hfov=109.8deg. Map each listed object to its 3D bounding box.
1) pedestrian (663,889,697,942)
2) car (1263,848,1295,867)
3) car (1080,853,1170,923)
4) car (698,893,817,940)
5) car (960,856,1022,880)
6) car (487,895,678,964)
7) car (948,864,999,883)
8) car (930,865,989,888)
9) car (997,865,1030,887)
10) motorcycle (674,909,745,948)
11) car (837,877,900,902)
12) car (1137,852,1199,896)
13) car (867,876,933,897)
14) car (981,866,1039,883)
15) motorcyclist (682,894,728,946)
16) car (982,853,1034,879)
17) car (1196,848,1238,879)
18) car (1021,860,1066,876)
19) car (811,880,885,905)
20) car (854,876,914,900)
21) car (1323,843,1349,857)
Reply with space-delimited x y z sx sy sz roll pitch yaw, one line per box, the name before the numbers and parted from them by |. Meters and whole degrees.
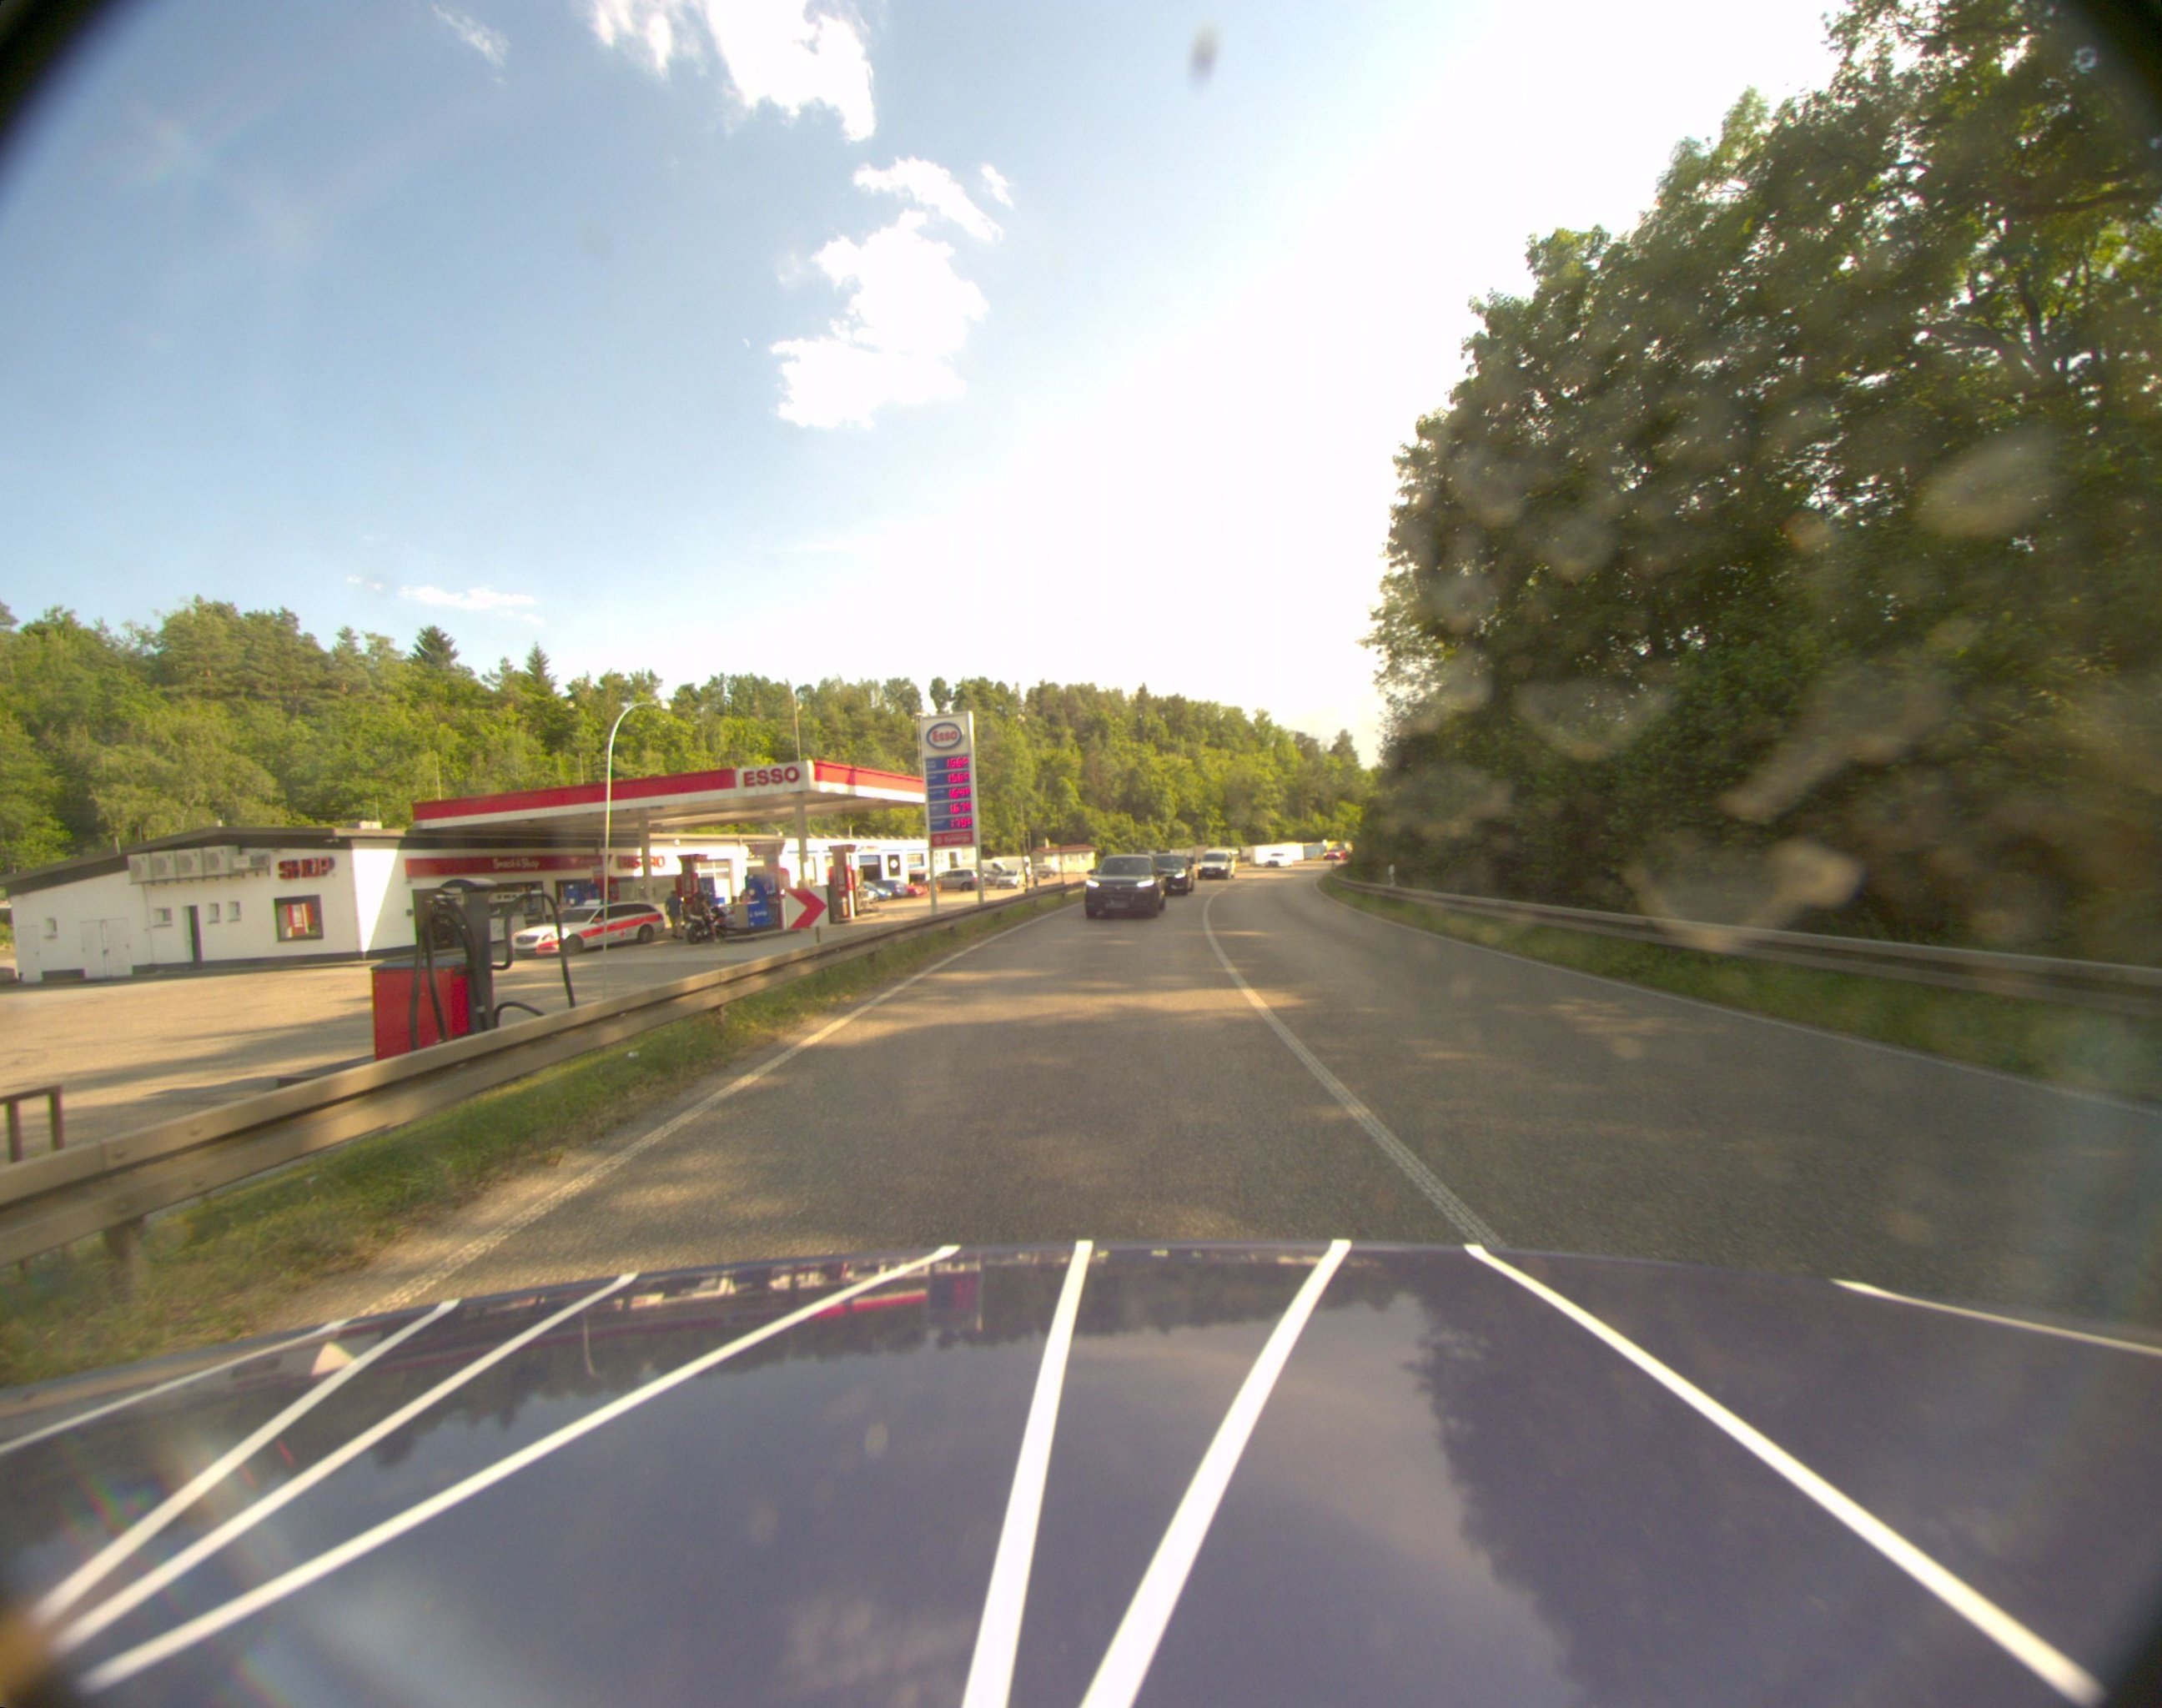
pedestrian | -14.153 2.161 26.832 0.704 1.766 0.620 -4 0 7
car | 18.060 0.314 69.226 1.893 1.437 4.483 -4 0 26
car | 1.309 0.829 20.636 1.858 1.630 4.444 -1 1 10
car | -12.057 2.285 28.678 1.845 1.311 4.394 -3 0 13
car | -8.882 1.374 75.149 5.482 2.261 2.297 -2 1 13
car | -16.030 2.374 24.897 2.096 1.618 5.184 -3 0 12
car | -9.945 1.819 70.506 4.247 1.601 1.896 -2 1 13
car | -9.886 1.848 61.934 4.254 1.719 1.893 -1 1 10
car | -5.507 1.802 62.621 1.793 1.587 3.991 -1 1 9
motorcycle | -12.224 2.449 25.128 0.763 1.006 2.343 -3 0 12
car | -14.044 2.348 50.218 3.555 1.398 1.692 -3 0 13
car | 3.602 0.762 30.883 1.846 1.561 4.261 -1 1 15
car | -12.952 2.312 54.440 4.073 1.340 1.896 -2 0 13
car | -6.315 1.810 67.669 4.727 1.425 1.959 -1 1 11
motorcyclist | -12.302 2.147 24.892 0.859 1.595 0.928 -4 0 12
car | -7.532 1.238 78.756 4.916 2.435 2.209 -2 1 11
car | 8.380 0.528 46.537 1.865 1.710 4.769 -1 1 18
car | -4.078 1.544 82.755 4.411 1.660 1.939 -1 -1 -28
car | -14.600 2.393 47.709 3.964 1.347 1.778 -2 1 9
car | -13.554 2.320 52.393 3.549 1.437 1.735 -3 0 13
car | 29.939 -0.502 89.168 1.856 1.412 4.426 -4 0 31
